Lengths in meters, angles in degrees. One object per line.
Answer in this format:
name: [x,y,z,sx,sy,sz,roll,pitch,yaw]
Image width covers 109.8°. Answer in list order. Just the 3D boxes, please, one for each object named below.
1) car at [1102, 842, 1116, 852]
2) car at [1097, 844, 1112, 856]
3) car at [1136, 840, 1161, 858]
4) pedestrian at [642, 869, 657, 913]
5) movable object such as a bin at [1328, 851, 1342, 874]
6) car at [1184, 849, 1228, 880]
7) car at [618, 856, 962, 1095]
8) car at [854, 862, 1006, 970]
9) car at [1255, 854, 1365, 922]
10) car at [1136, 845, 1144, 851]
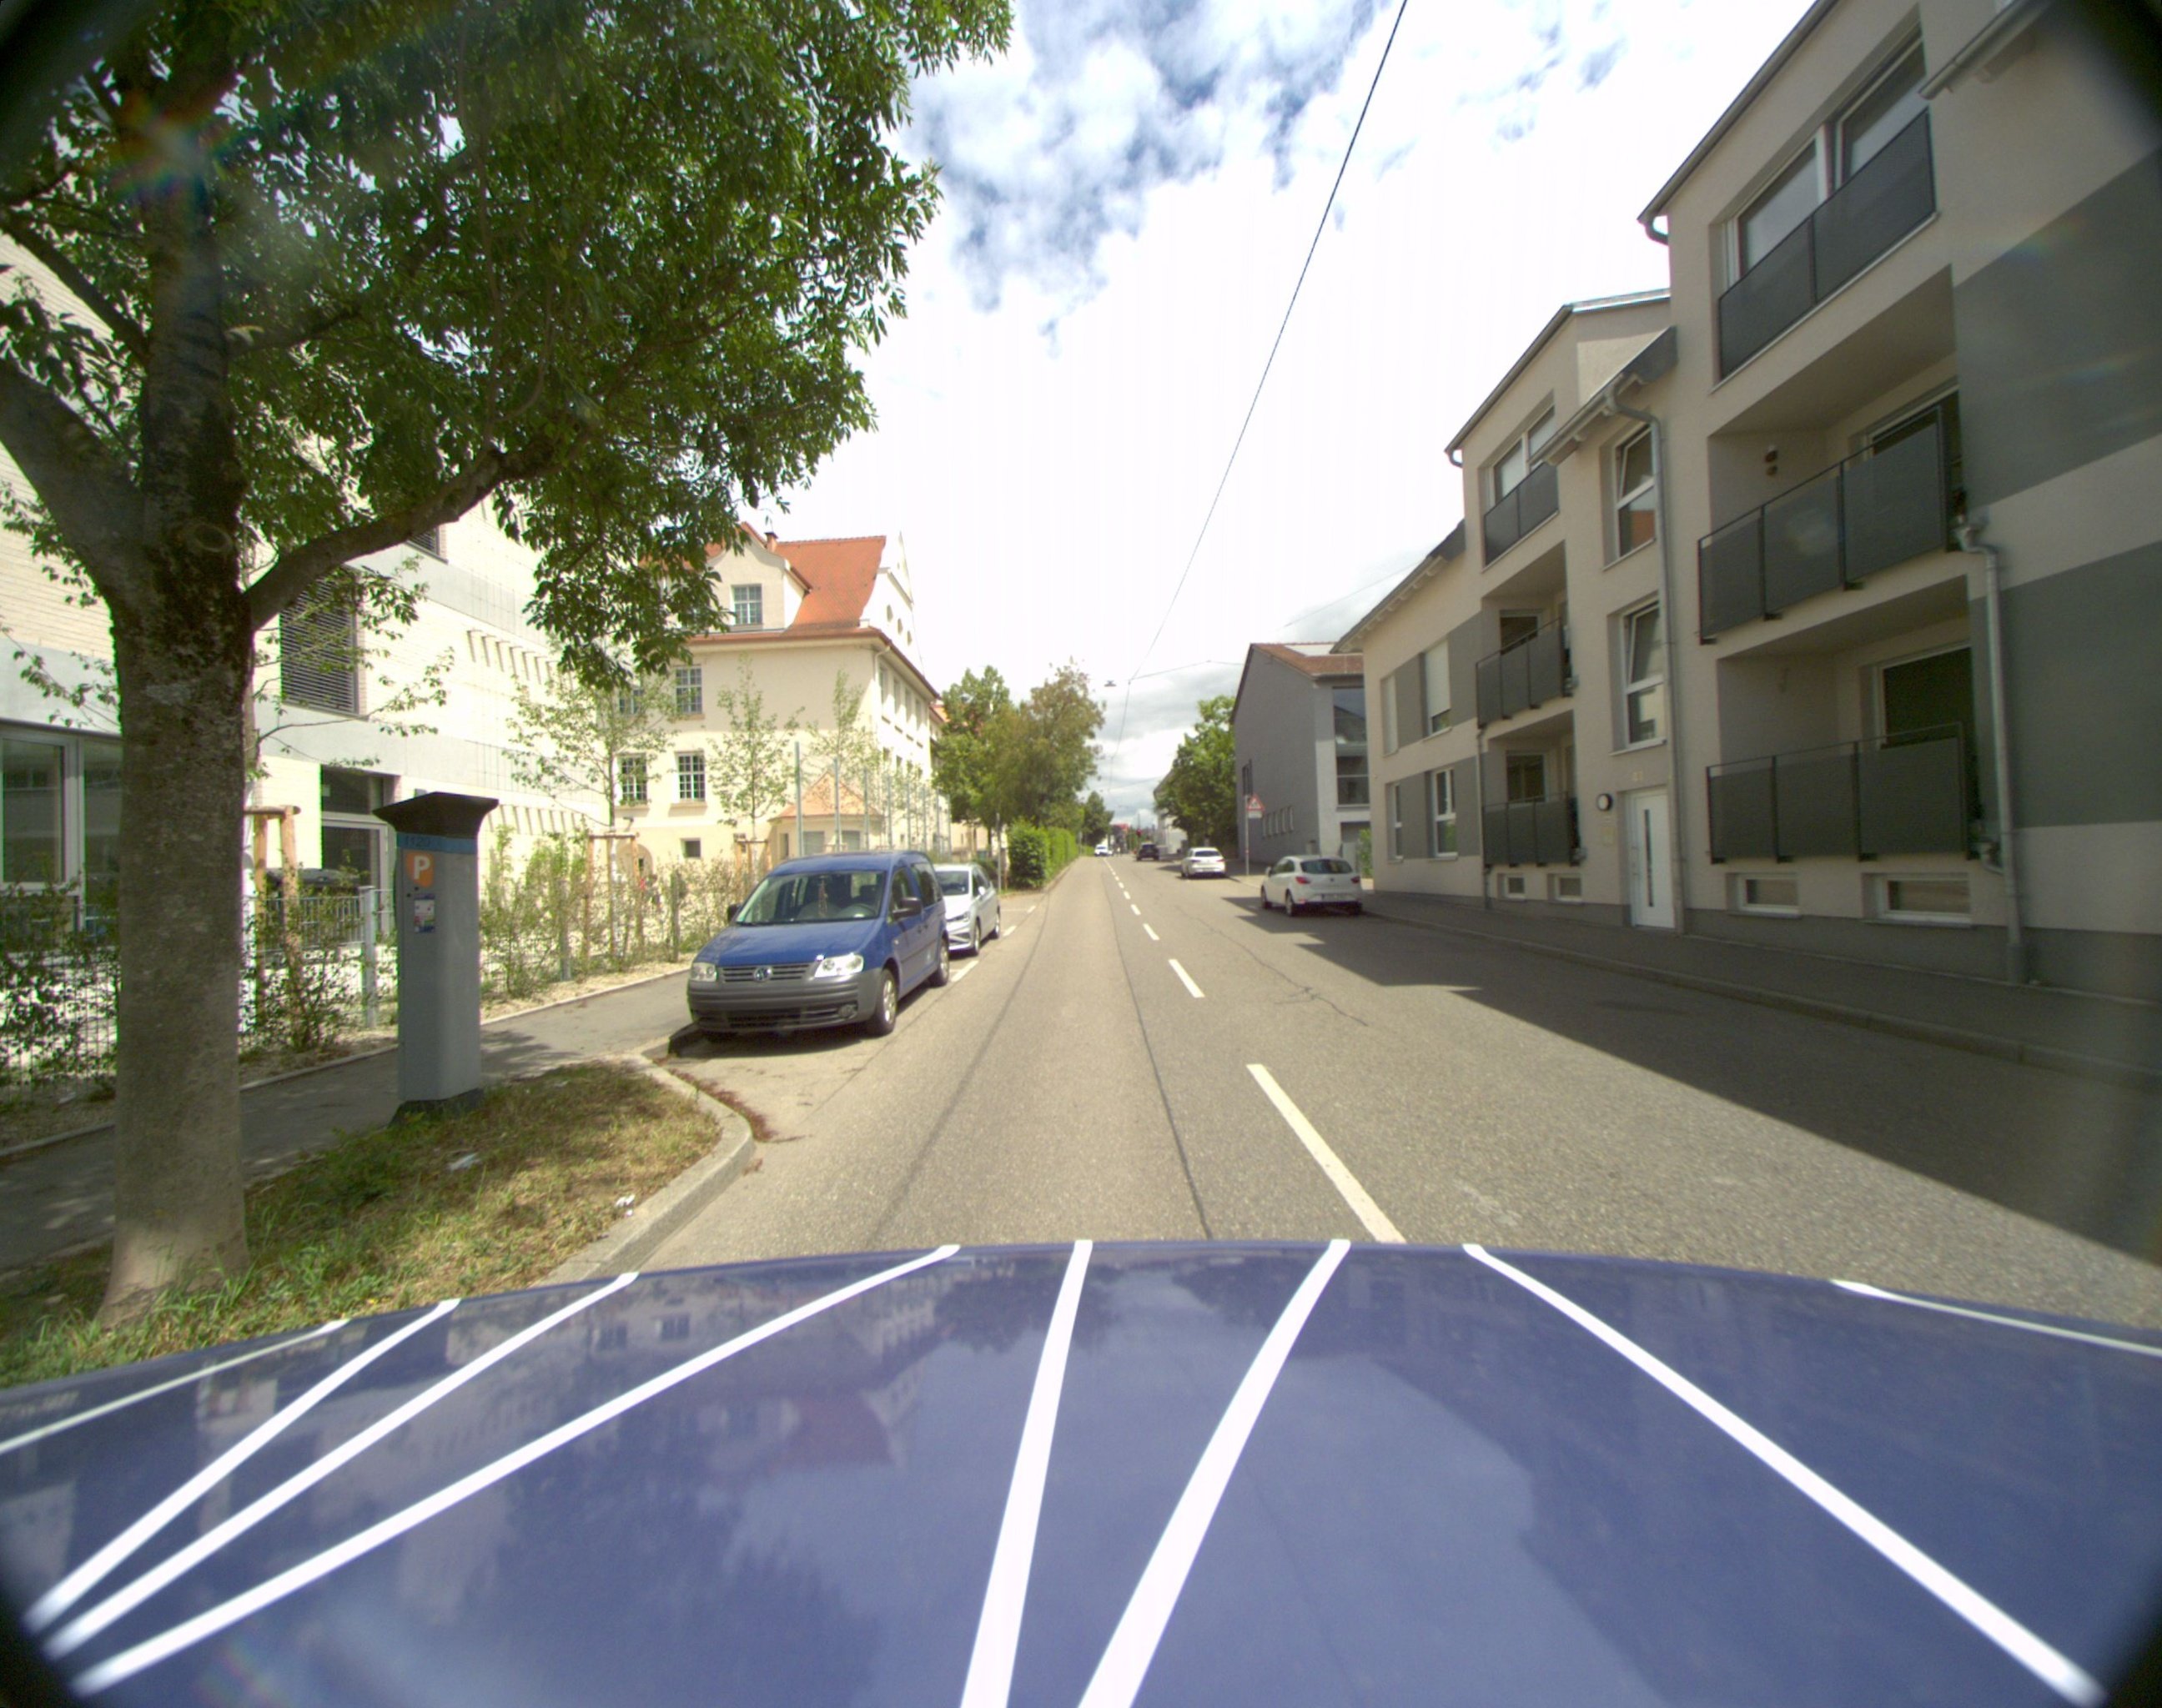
car: [4.495,-1.138,121.352,1.794,1.477,4.003,-4,-1,7]
car: [3.490,-0.603,112.175,1.893,1.718,4.294,-2,0,4]
car: [6.186,-0.453,69.911,1.800,1.601,4.645,-2,0,-1]
pedestrian: [-14.416,1.228,25.375,0.295,1.457,0.247,-3,1,-13]
movable object such as a bin: [10.627,0.347,31.777,0.455,0.923,0.399,-1,1,0]
car: [5.983,0.491,36.678,1.701,1.382,3.867,-2,0,4]
car: [-2.659,0.978,8.286,1.849,1.757,4.514,-3,1,1]
car: [-2.573,0.997,14.045,1.790,1.500,4.364,-3,1,1]
car: [5.617,0.768,19.066,1.651,1.410,3.698,-3,1,1]
car: [14.963,-1.466,193.954,1.794,1.477,4.003,-4,-1,7]
